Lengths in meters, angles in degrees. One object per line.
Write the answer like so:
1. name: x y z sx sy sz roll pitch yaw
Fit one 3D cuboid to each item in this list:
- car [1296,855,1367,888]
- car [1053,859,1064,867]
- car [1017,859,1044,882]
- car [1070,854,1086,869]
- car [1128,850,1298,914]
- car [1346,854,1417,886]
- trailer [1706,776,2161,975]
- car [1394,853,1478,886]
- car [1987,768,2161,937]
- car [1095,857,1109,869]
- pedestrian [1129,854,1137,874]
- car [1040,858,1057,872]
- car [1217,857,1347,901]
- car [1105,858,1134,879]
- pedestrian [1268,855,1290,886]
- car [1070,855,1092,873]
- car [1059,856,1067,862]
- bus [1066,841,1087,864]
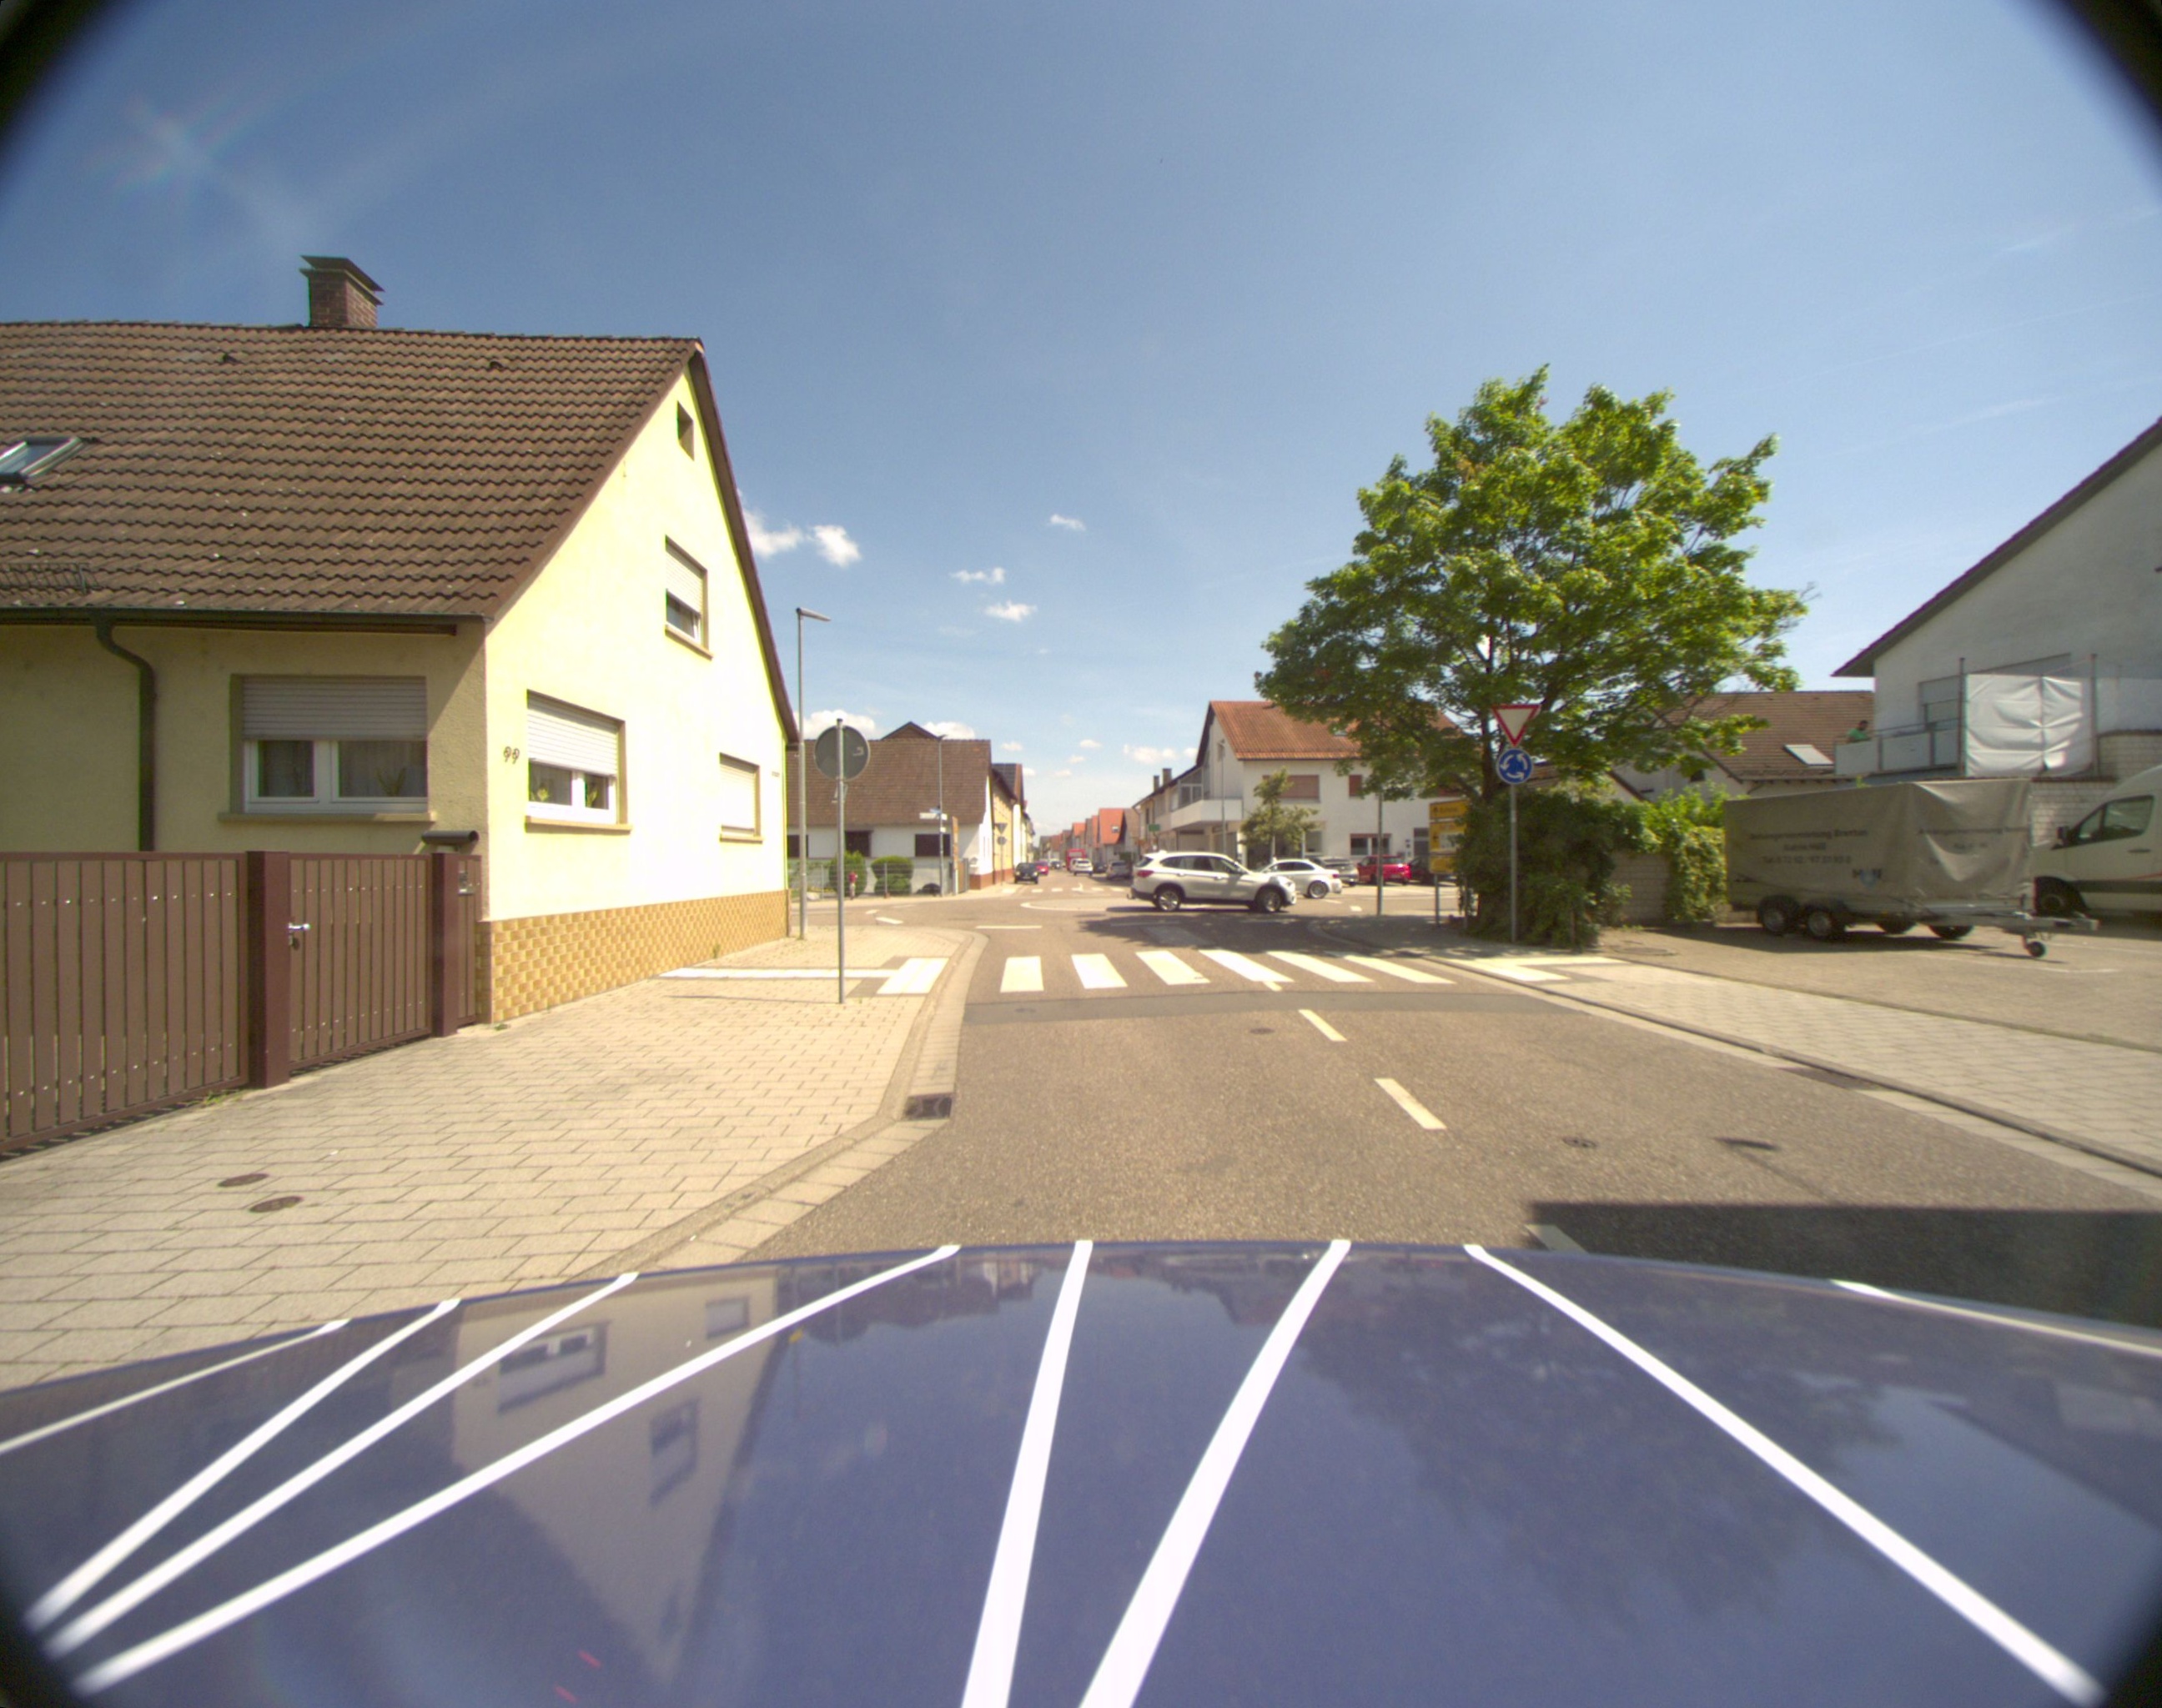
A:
1. car: 12.223 0.815 37.432 1.835 1.442 4.477 -1 1 -3
2. car: -3.907 1.542 131.066 1.765 1.420 4.187 -1 0 -5
3. car: -3.343 1.084 51.053 1.690 1.454 3.628 1 0 -2
4. car: -0.364 0.955 94.612 1.776 1.810 4.440 1 0 -3
5. car: 3.479 0.741 20.722 4.370 1.636 1.847 -1 0 3
6. car: 14.733 0.747 37.470 1.752 1.468 3.962 -1 1 -3
7. trailer: 12.230 0.258 11.373 1.884 2.322 4.523 -2 0 -1
8. car: 17.248 0.727 37.140 1.835 1.442 4.477 -1 1 -3
9. car: 17.360 -0.062 10.858 1.942 2.552 5.646 -2 0 -1
10. car: 2.458 1.039 90.389 1.458 1.362 3.384 -4 0 -1
11. pedestrian: 4.669 0.899 68.585 0.579 1.780 0.693 -3 1 -2
12. car: -3.406 1.112 79.737 1.765 1.420 4.188 -1 0 -2
13. car: 7.214 0.949 27.685 4.329 1.439 1.883 -2 -3 6
14. car: 3.088 1.166 61.628 1.749 1.507 3.998 -5 1 -3
15. pedestrian: 10.335 0.845 39.714 0.954 1.574 0.758 -2 1 21
16. car: -0.027 0.948 75.566 1.871 1.700 4.541 -1 0 -3
17. car: -4.400 1.341 188.858 1.765 1.420 3.851 -1 0 -5
18. bus: -0.773 -0.184 111.243 2.634 3.213 12.020 1 0 -2
